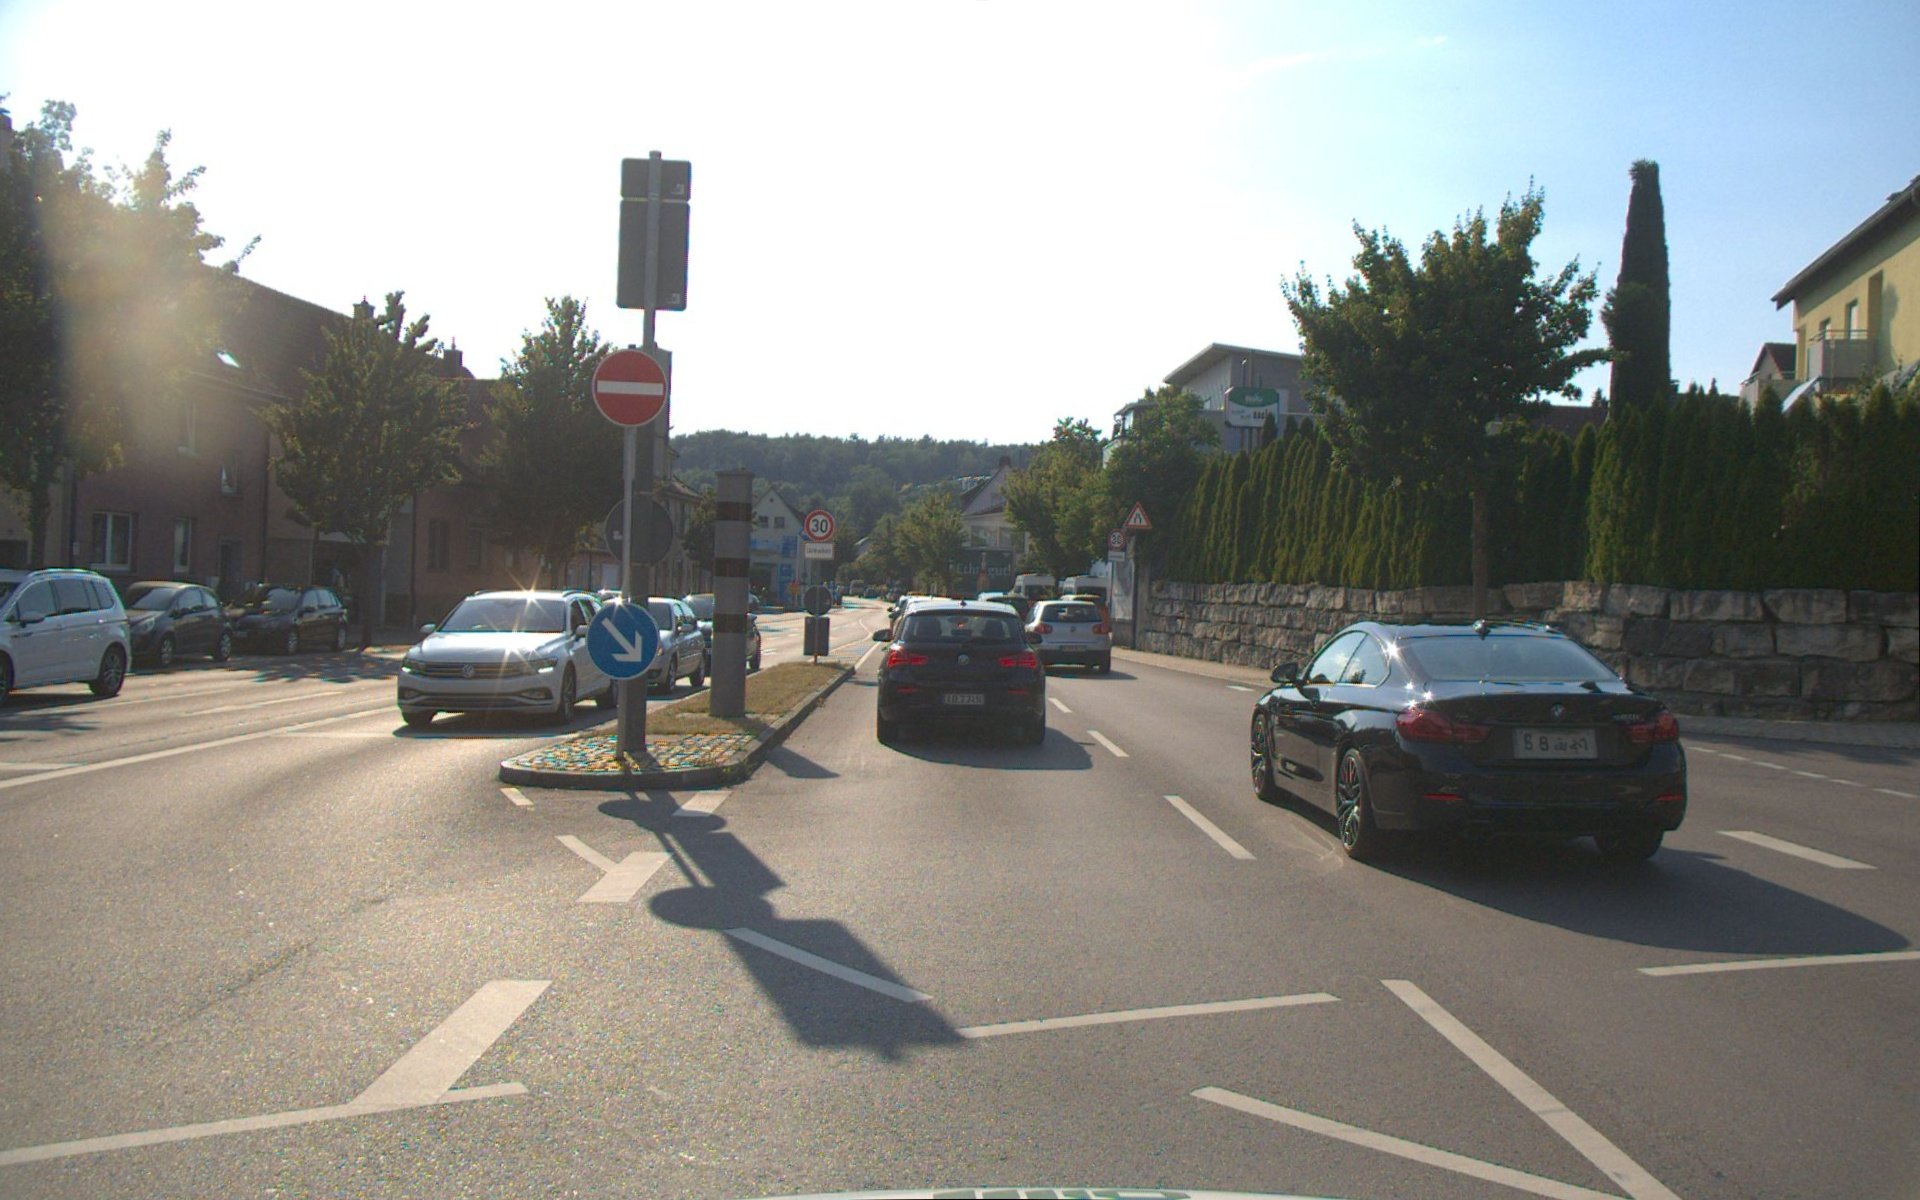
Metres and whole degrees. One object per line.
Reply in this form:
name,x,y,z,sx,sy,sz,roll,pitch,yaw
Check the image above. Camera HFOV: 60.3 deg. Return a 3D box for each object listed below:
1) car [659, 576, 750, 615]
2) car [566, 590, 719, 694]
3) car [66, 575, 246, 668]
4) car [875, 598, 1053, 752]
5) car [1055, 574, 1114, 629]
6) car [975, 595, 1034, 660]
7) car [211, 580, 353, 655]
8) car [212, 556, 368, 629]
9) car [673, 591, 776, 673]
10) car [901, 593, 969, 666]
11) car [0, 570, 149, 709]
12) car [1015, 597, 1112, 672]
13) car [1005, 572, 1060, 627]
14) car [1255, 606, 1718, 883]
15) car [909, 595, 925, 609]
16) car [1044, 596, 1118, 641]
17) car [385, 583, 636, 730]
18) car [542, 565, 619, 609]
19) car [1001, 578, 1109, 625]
car,-17.894,-0.326,116.099,6.036,2.487,2.248,2,0,-3
car,-4.793,0.618,25.377,1.556,1.452,3.578,1,-1,1
car,-14.774,0.356,30.627,1.481,1.537,3.884,3,0,-2
car,-0.009,0.731,17.941,1.736,1.482,3.514,0,0,-2
car,6.500,0.056,87.131,2.070,2.769,6.437,1,0,-4
car,1.281,0.766,48.720,1.570,1.798,3.410,1,0,-1
car,-14.927,0.341,36.631,1.586,1.537,4.131,1,0,-3
car,-19.490,-0.212,48.218,3.743,1.914,1.779,3,0,0
car,-4.591,0.583,32.576,1.501,1.487,3.506,1,0,0
car,-0.632,0.666,40.102,1.559,1.628,3.892,1,0,-2
car,-12.166,0.446,20.960,1.651,1.640,4.412,1,0,-1
car,2.136,0.690,34.785,1.718,1.438,3.421,1,0,-2
car,3.756,-0.069,86.908,2.107,2.727,6.598,1,0,-4
car,3.172,0.774,10.891,1.665,1.393,4.262,0,1,0
car,-4.804,0.239,183.232,1.565,1.511,3.472,2,0,-4
car,4.703,0.683,64.869,1.801,1.678,4.527,1,0,-10
car,-5.172,0.571,19.672,1.798,1.514,4.565,1,0,-1
car,-14.118,-0.466,61.747,1.631,1.513,4.002,4,0,4
car,5.419,0.077,94.937,5.926,2.560,2.042,1,0,-5
